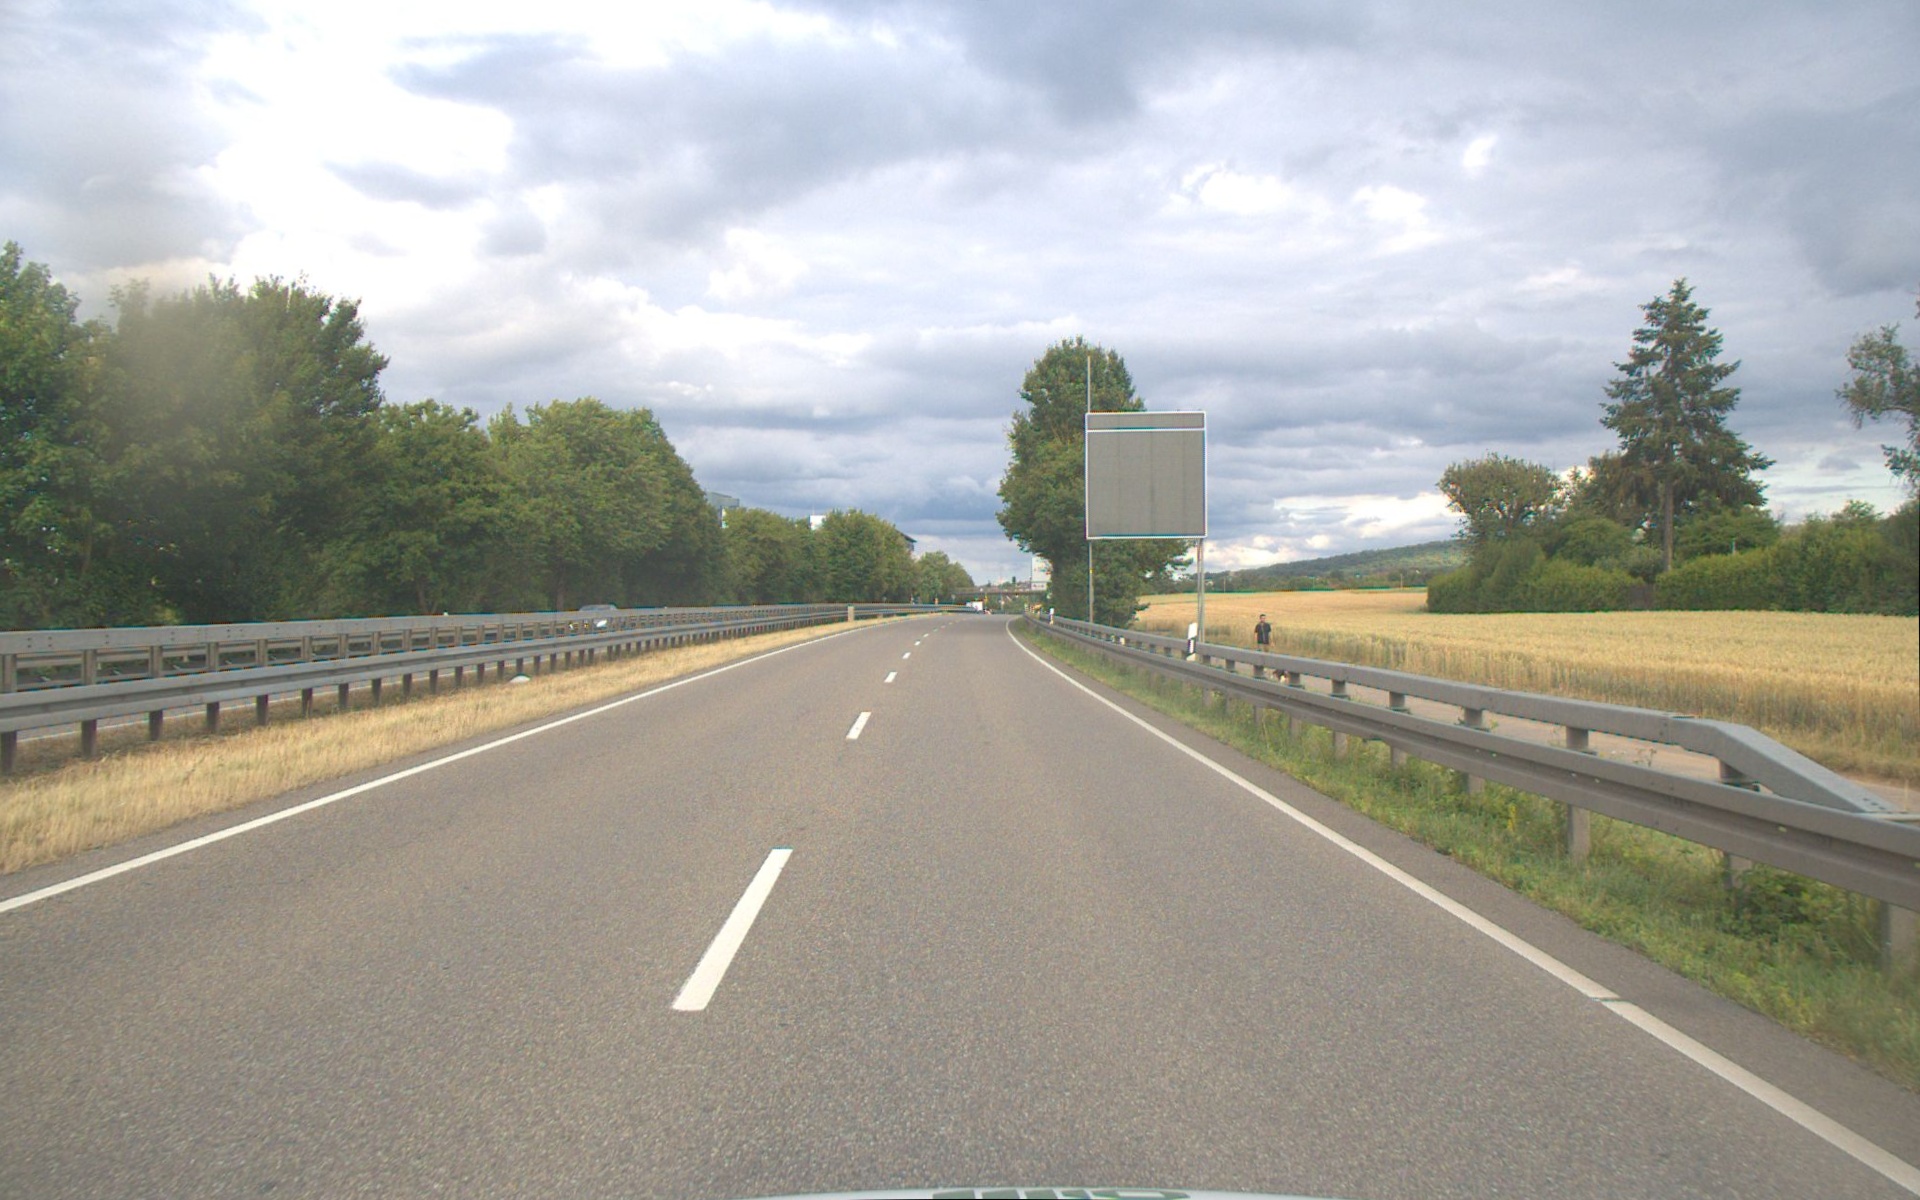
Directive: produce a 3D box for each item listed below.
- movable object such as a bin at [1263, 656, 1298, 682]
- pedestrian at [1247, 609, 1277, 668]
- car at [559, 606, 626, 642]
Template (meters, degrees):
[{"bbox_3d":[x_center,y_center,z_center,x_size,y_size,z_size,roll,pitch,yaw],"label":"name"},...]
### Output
[{"bbox_3d":[8.847,1.910,45.702,0.717,0.657,1.235,2,-1,-1],"label":"movable object such as a bin"},{"bbox_3d":[9.970,1.275,54.608,0.755,1.900,0.940,2,-1,-1],"label":"pedestrian"},{"bbox_3d":[-14.940,0.942,67.526,1.745,1.375,4.576,-1,0,-1],"label":"car"}]
